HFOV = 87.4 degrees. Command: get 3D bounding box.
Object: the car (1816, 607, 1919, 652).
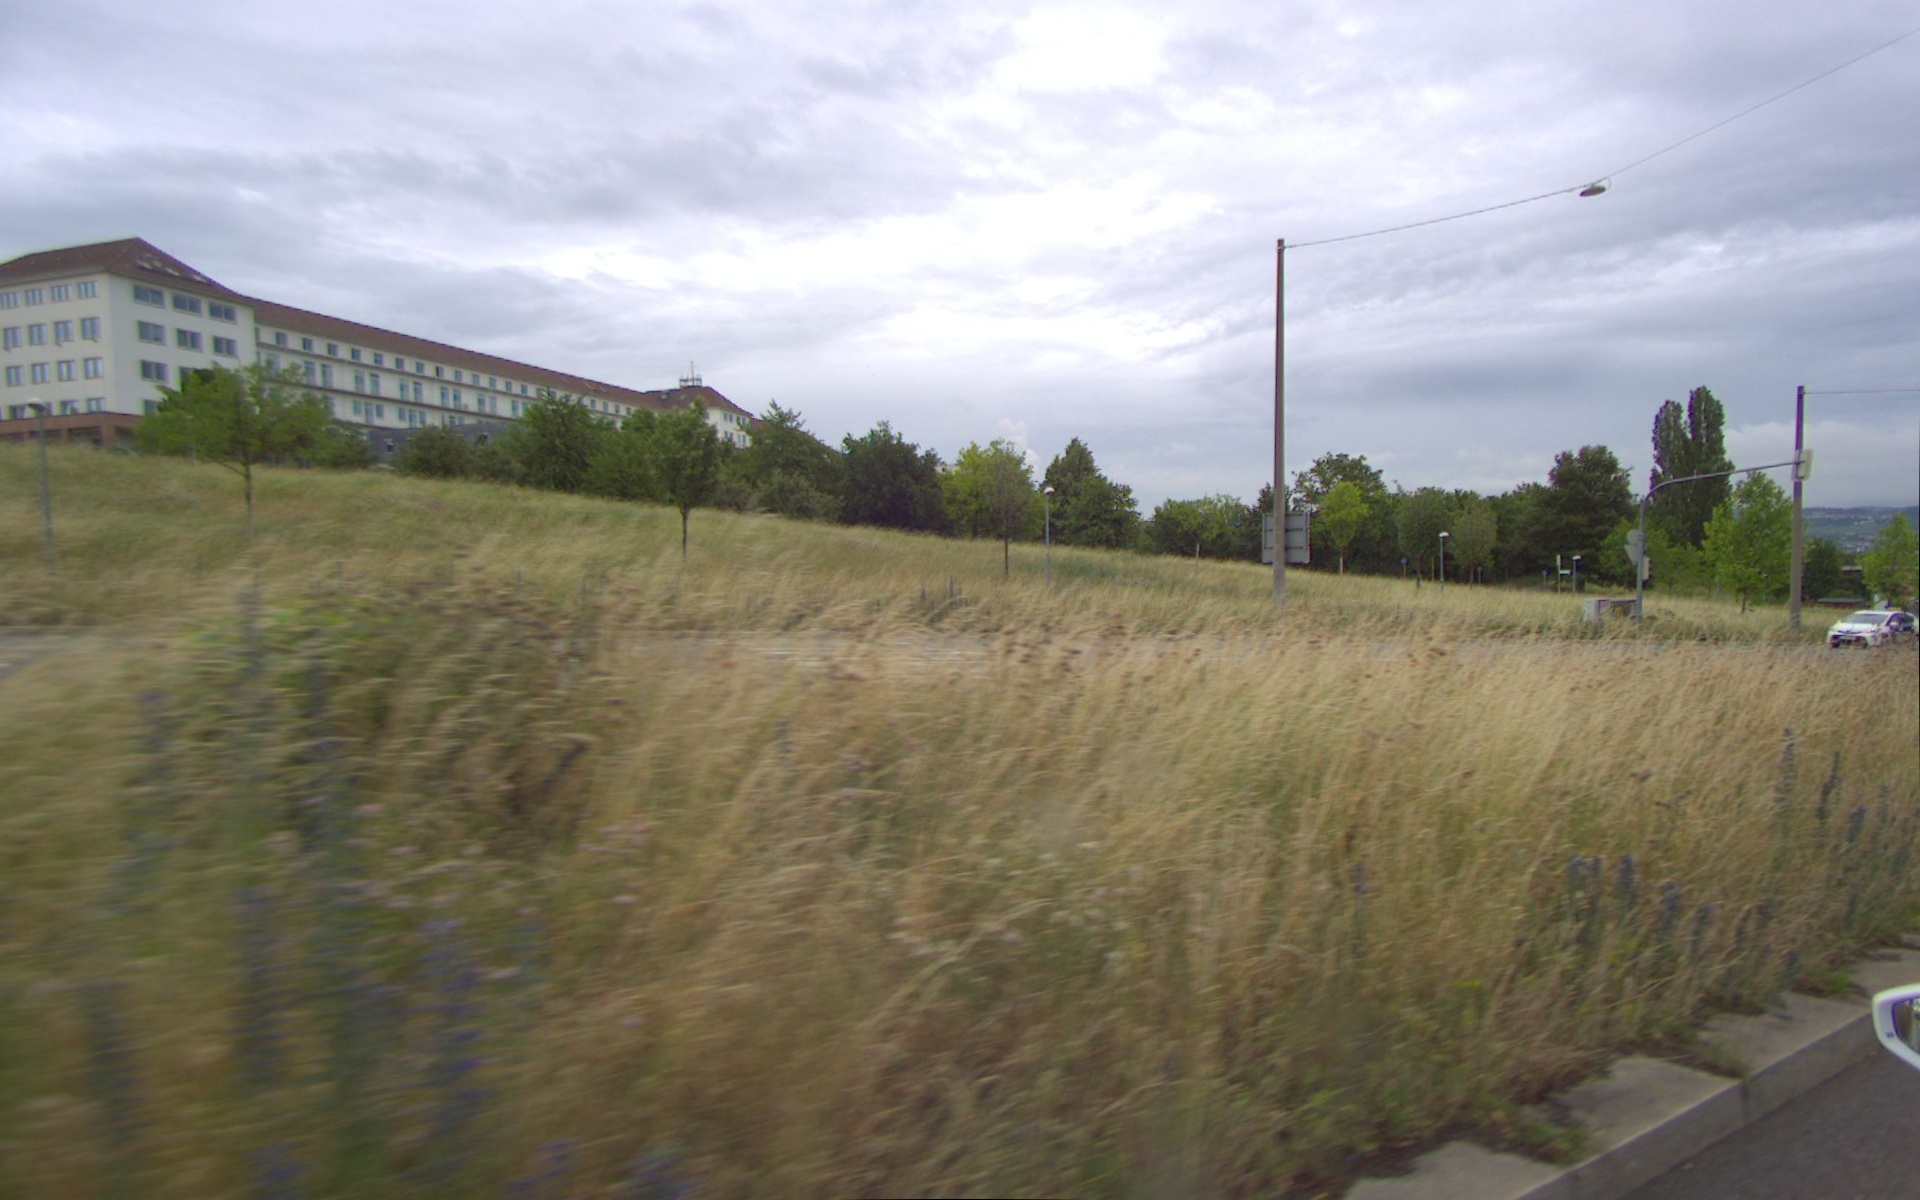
[{"bbox_3d":[37.651,1.227,41.457,4.616,1.633,1.878,2,1,-27],"label":"car"}]
